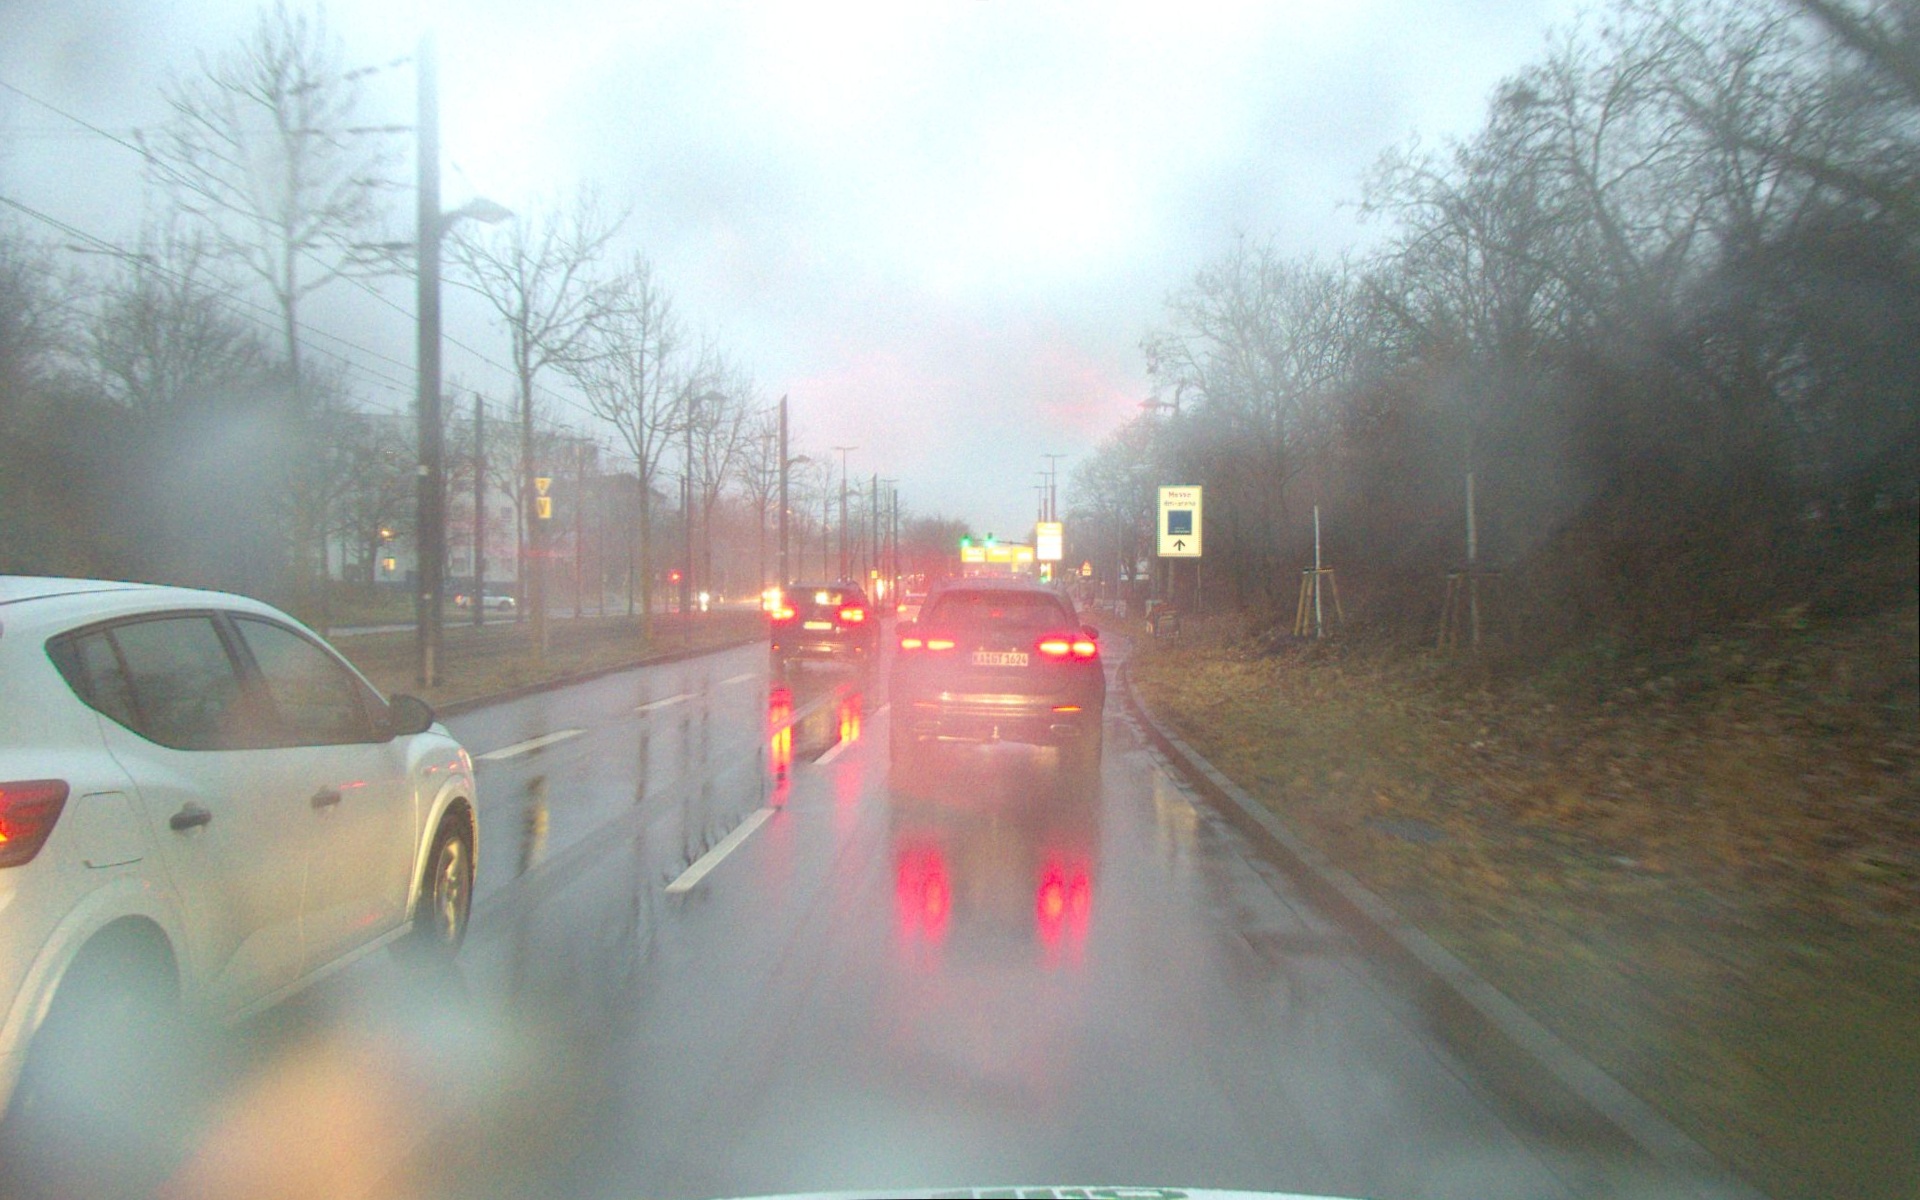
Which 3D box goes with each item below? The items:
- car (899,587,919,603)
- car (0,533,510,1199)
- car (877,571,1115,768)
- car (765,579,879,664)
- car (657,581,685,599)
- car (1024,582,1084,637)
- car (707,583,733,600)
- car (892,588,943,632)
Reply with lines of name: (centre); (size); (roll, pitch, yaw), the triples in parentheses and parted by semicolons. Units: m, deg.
car: (-5.581, -0.556, 180.454); (1.952, 1.695, 3.837); (0, 0, 1)
car: (-2.752, 0.639, 5.103); (1.674, 1.551, 4.134); (0, 0, -1)
car: (0.340, 0.552, 15.676); (1.957, 1.612, 4.001); (0, 1, 1)
car: (-2.549, 0.357, 31.396); (1.842, 1.485, 4.000); (0, 1, -1)
car: (-28.729, -0.997, 164.335); (1.952, 1.687, 4.001); (1, 0, 1)
car: (2.811, 0.278, 49.906); (1.673, 1.585, 3.997); (0, 0, 1)
car: (-24.808, -0.897, 171.086); (1.952, 1.687, 4.001); (1, 0, 1)
car: (-1.555, 0.349, 61.155); (1.673, 1.585, 3.997); (0, 0, 1)
